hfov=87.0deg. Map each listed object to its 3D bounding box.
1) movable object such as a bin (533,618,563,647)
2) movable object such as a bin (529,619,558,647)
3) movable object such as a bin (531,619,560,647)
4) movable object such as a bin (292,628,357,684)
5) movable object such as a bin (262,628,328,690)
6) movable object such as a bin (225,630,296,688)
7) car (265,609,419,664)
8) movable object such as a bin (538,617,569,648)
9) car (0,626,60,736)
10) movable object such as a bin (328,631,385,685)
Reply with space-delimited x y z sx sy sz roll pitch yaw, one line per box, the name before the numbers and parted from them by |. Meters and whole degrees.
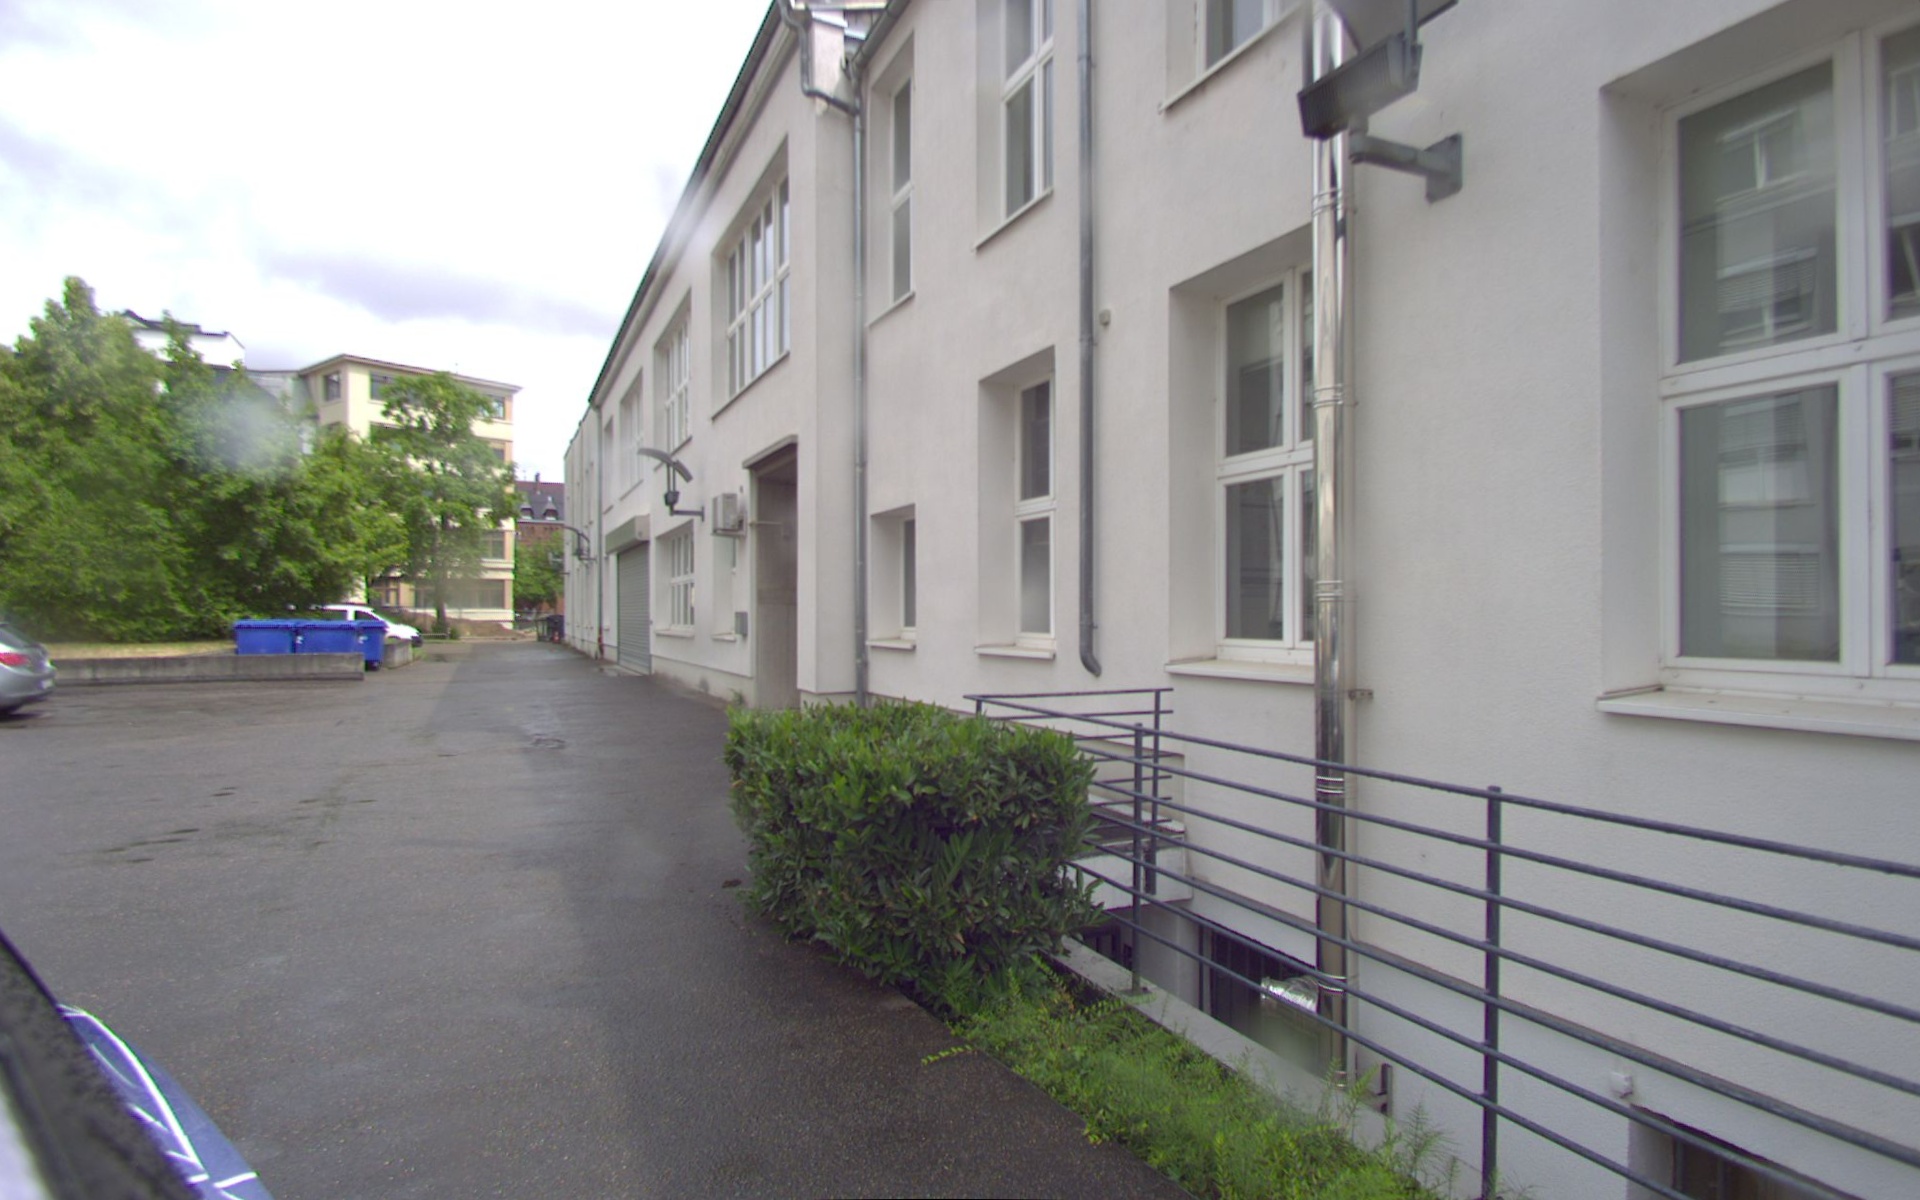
movable object such as a bin | -21.590 1.715 53.044 1.340 1.482 1.370 -1 -2 -26
movable object such as a bin | -23.527 1.855 57.107 1.389 1.482 1.566 -1 -2 -26
movable object such as a bin | -22.798 1.816 55.635 1.340 1.482 1.469 -1 -2 -26
movable object such as a bin | -15.459 1.347 24.657 1.212 1.327 1.059 1 -3 -26
movable object such as a bin | -16.849 1.486 25.685 1.257 1.494 1.105 -1 -2 -26
movable object such as a bin | -16.586 1.385 24.038 1.212 1.327 1.059 1 -3 -26
car | -24.085 1.387 39.659 4.867 2.029 2.006 0 -1 -22
movable object such as a bin | -20.725 1.651 51.544 1.340 1.482 1.370 -1 -2 -26
car | -15.154 1.096 13.790 4.022 1.469 1.673 1 -1 -29
movable object such as a bin | -15.784 1.509 26.502 1.158 1.327 1.059 -1 -2 -26
